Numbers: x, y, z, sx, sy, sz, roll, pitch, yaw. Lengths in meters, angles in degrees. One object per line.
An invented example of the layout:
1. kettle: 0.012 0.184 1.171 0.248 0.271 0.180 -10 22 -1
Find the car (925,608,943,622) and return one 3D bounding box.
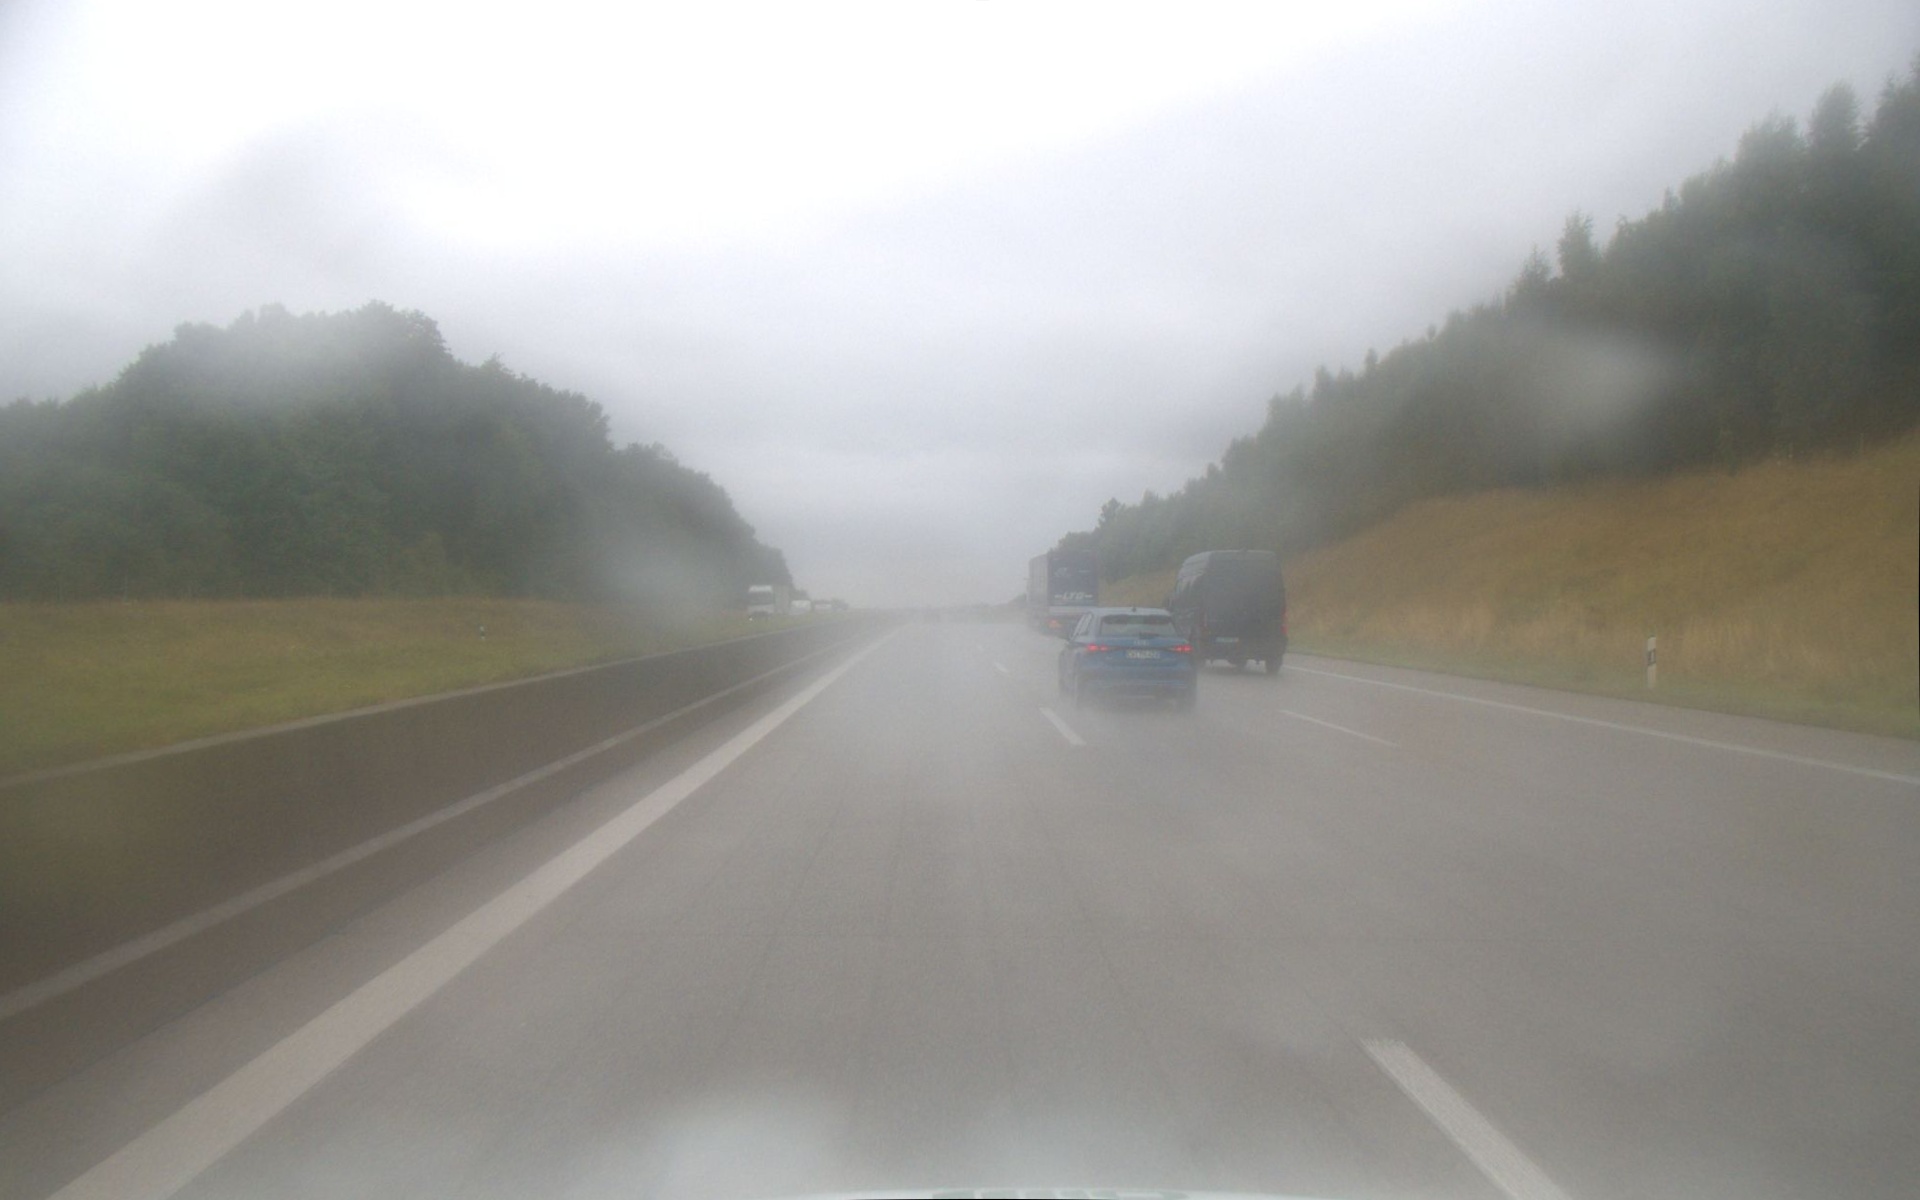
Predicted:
1. car: -2.517 1.436 160.889 1.694 1.354 4.428 0 0 -2

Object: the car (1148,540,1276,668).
1. car: 5.783 0.088 38.744 1.901 2.705 6.585 1 0 -1

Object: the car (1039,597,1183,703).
1. car: 2.264 0.773 25.908 1.694 1.484 4.670 -1 -2 -2

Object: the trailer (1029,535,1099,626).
1. trailer: 5.451 -0.833 89.281 2.651 4.456 15.201 1 -1 -1
